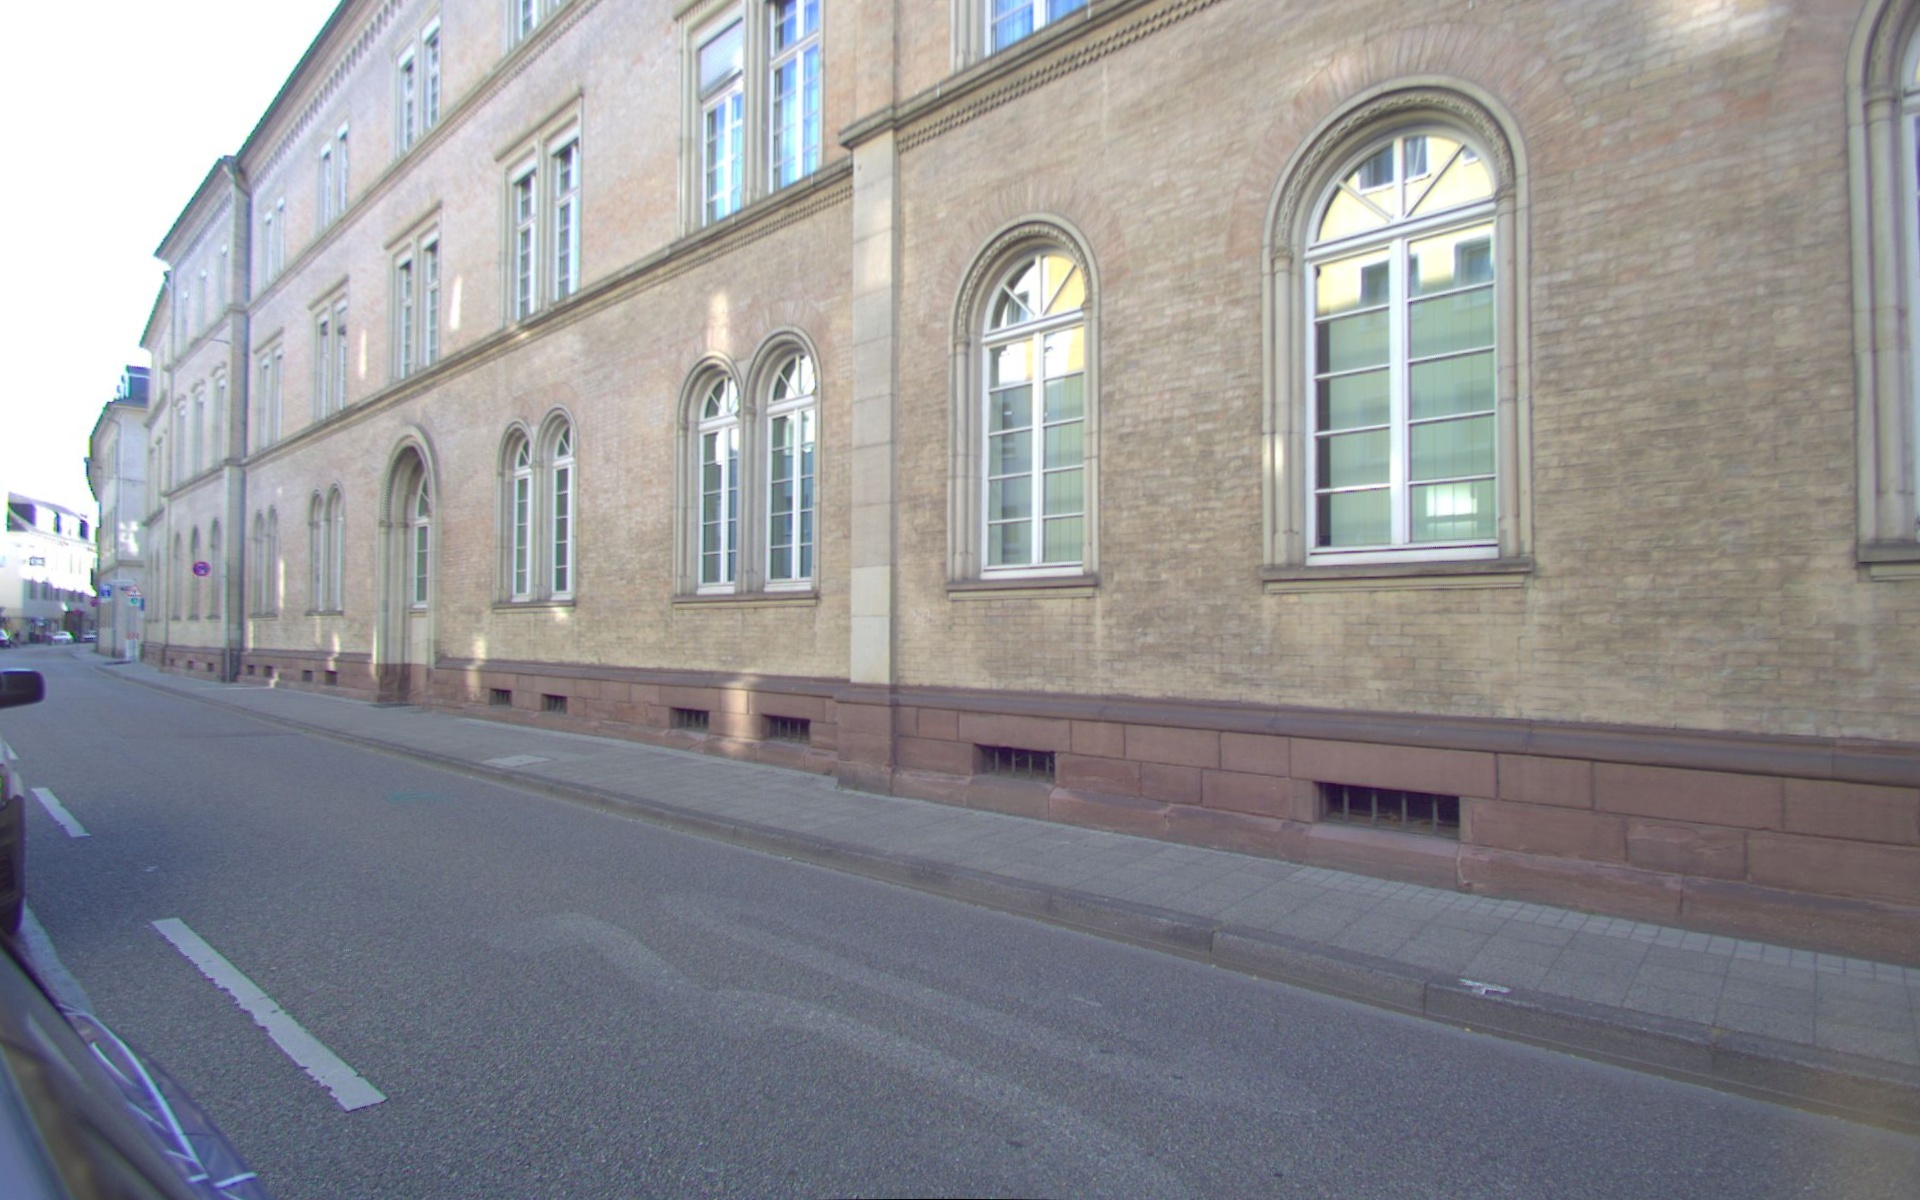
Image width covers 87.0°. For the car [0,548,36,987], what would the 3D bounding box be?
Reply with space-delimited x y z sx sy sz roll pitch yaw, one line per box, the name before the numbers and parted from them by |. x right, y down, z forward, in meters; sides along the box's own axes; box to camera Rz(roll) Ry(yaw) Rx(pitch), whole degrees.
car | -6.418 0.693 5.291 5.329 1.784 1.747 -1 -2 41

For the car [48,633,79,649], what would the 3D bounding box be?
car | -102.845 4.734 116.153 1.966 1.665 4.240 -1 0 -33

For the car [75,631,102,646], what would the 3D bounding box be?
car | -109.219 4.814 126.805 1.966 1.665 4.240 -1 0 -33

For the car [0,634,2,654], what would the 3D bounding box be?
car | -86.602 3.935 89.929 1.969 1.665 4.235 -1 0 -41

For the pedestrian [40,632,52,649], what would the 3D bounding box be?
pedestrian | -93.239 4.151 103.202 0.694 1.648 0.834 5 -4 -36

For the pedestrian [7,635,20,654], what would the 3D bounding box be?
pedestrian | -83.497 3.950 89.280 0.694 1.648 0.834 5 -4 -38
